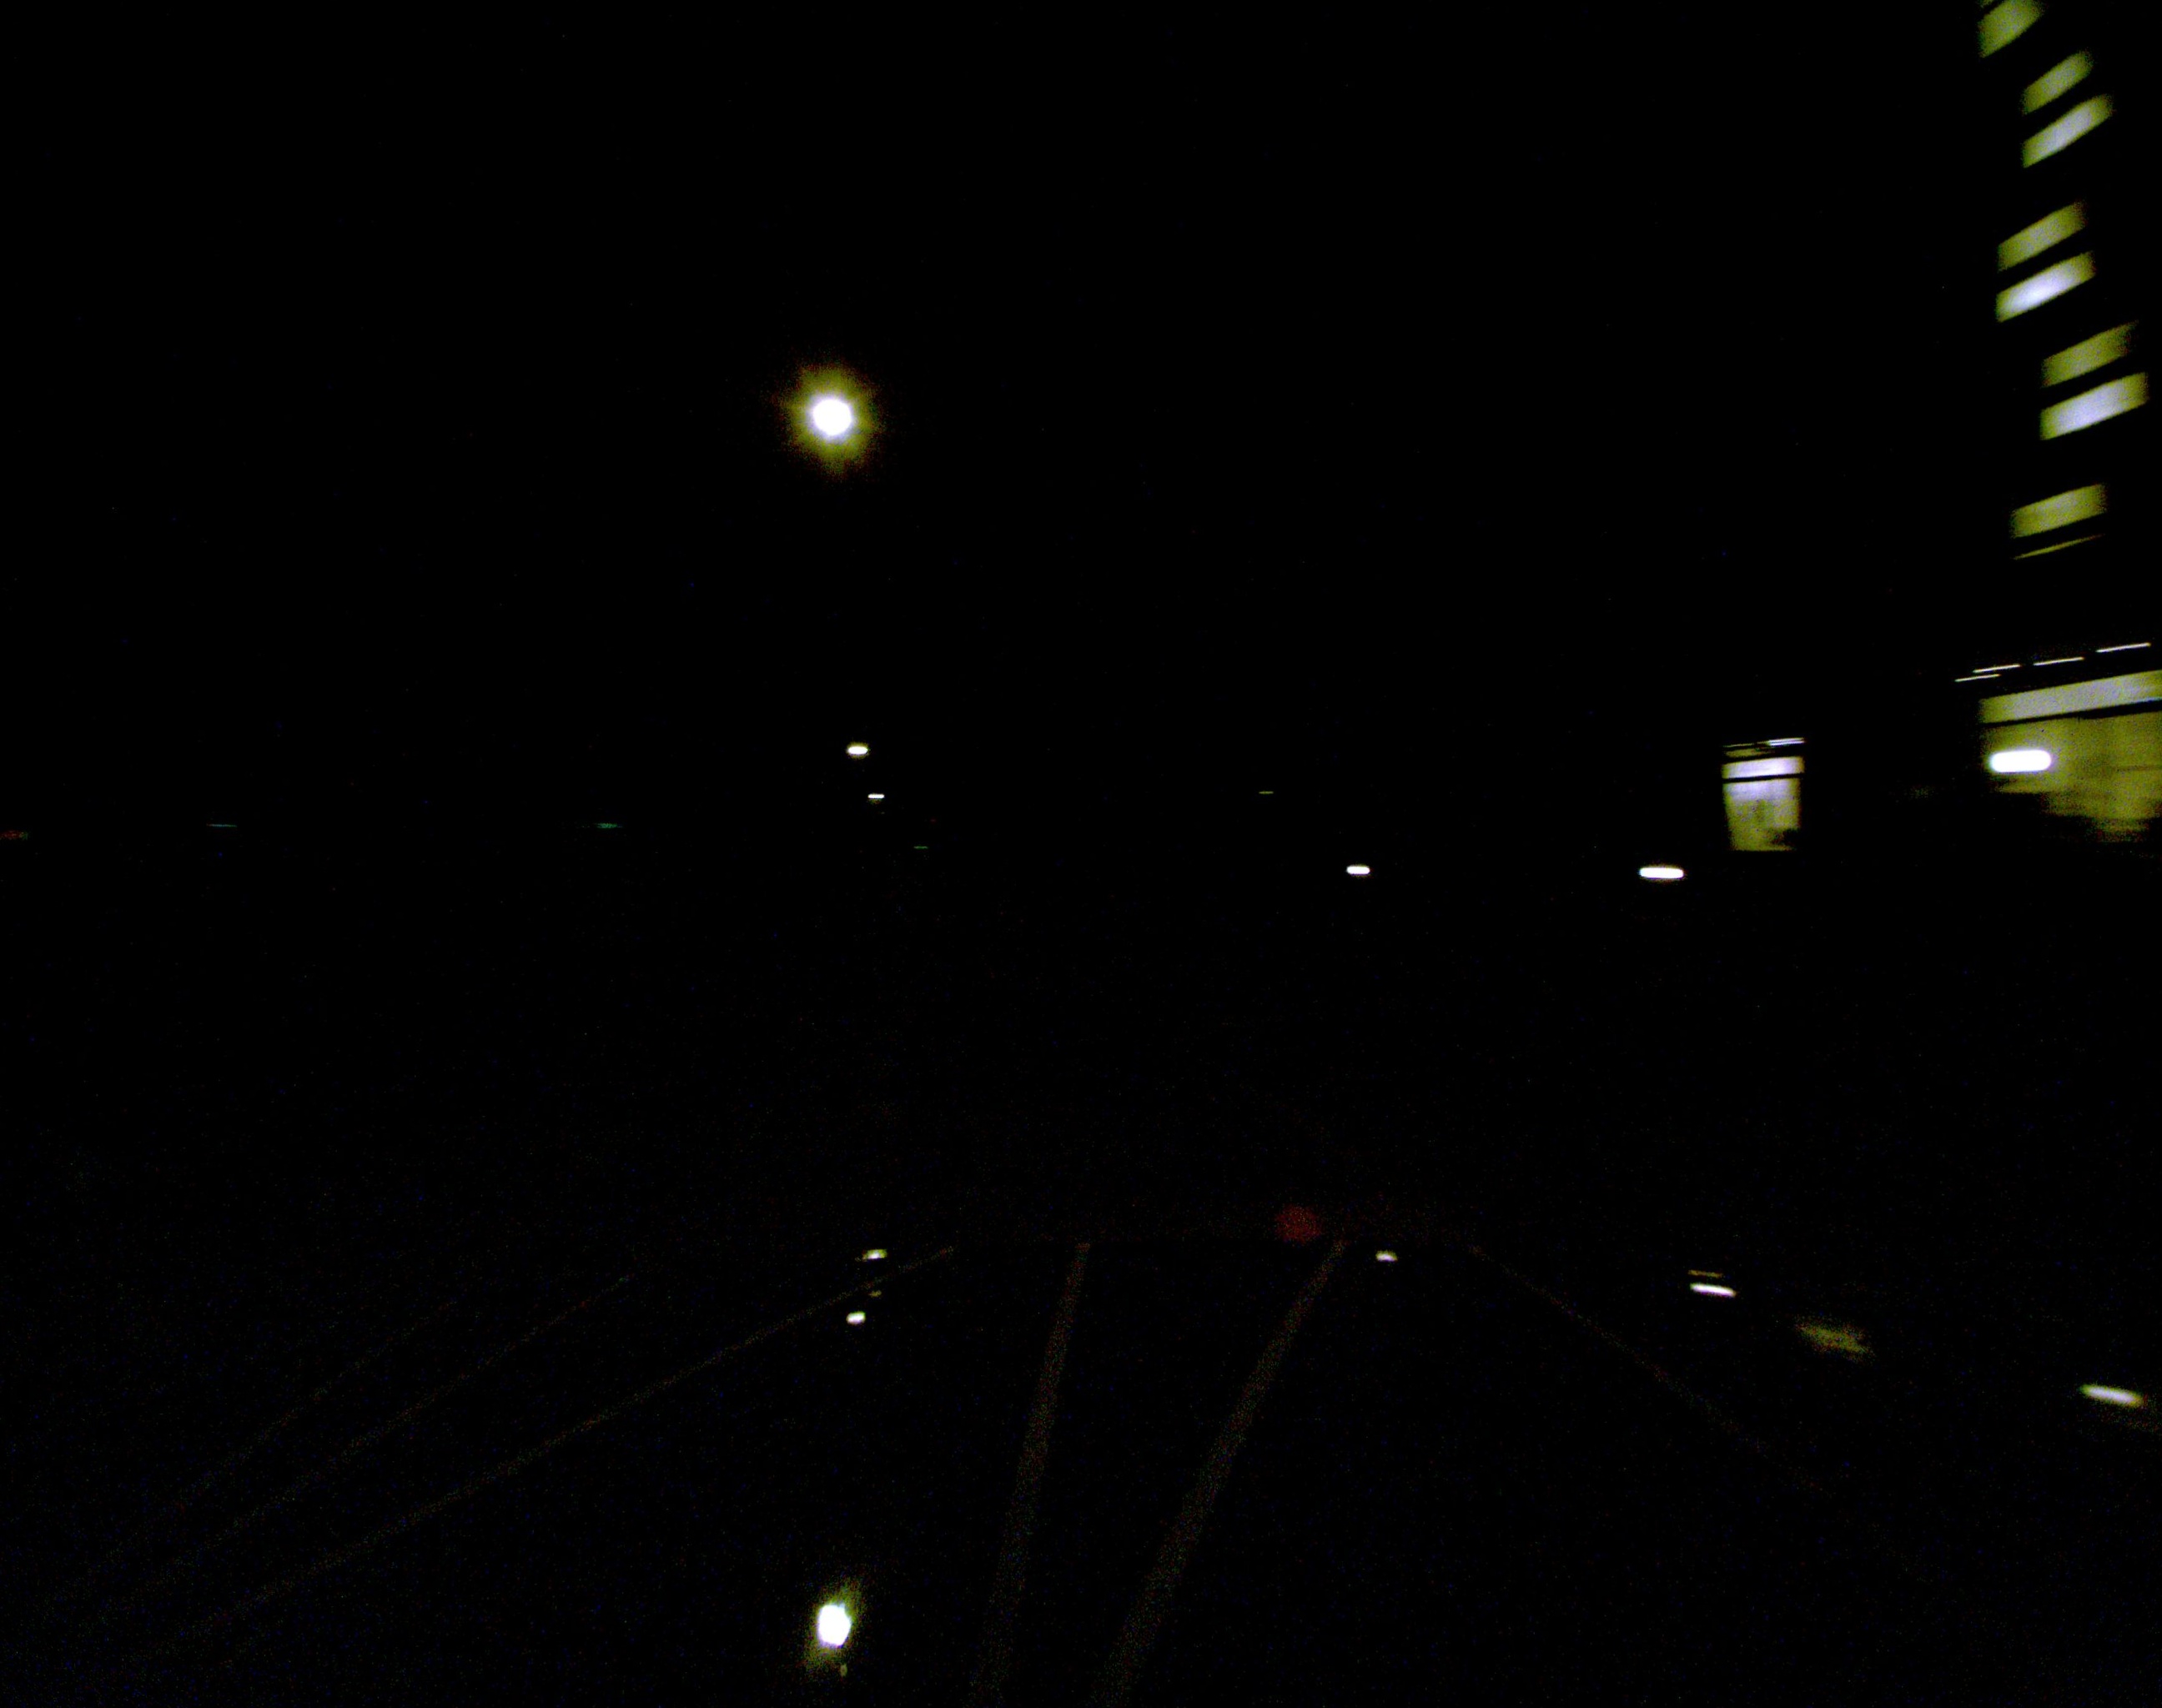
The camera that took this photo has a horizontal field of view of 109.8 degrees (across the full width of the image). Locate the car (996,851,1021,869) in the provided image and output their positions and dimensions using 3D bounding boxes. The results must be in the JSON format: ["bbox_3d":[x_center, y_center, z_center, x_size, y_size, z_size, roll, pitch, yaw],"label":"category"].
[{"bbox_3d":[-6.735,0.535,70.145,1.808,1.583,3.995,-3,1,-12],"label":"car"}]

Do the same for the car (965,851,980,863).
[{"bbox_3d":[-15.584,0.418,108.603,1.865,1.484,4.076,-2,1,-11],"label":"car"}]

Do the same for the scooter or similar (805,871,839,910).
[{"bbox_3d":[-8.238,1.154,24.174,0.468,1.195,1.136,-2,-1,13],"label":"scooter or similar"}]

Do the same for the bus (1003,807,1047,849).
[{"bbox_3d":[-10.433,-4.554,138.980,6.141,6.898,14.767,-2,1,-11],"label":"bus"}]

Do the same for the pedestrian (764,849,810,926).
[{"bbox_3d":[-7.334,0.815,19.019,0.820,1.854,1.033,-2,1,-11],"label":"pedestrian"}]

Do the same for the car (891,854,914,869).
[{"bbox_3d":[-19.926,0.828,85.025,1.999,1.638,3.998,-1,0,-6],"label":"car"}]
